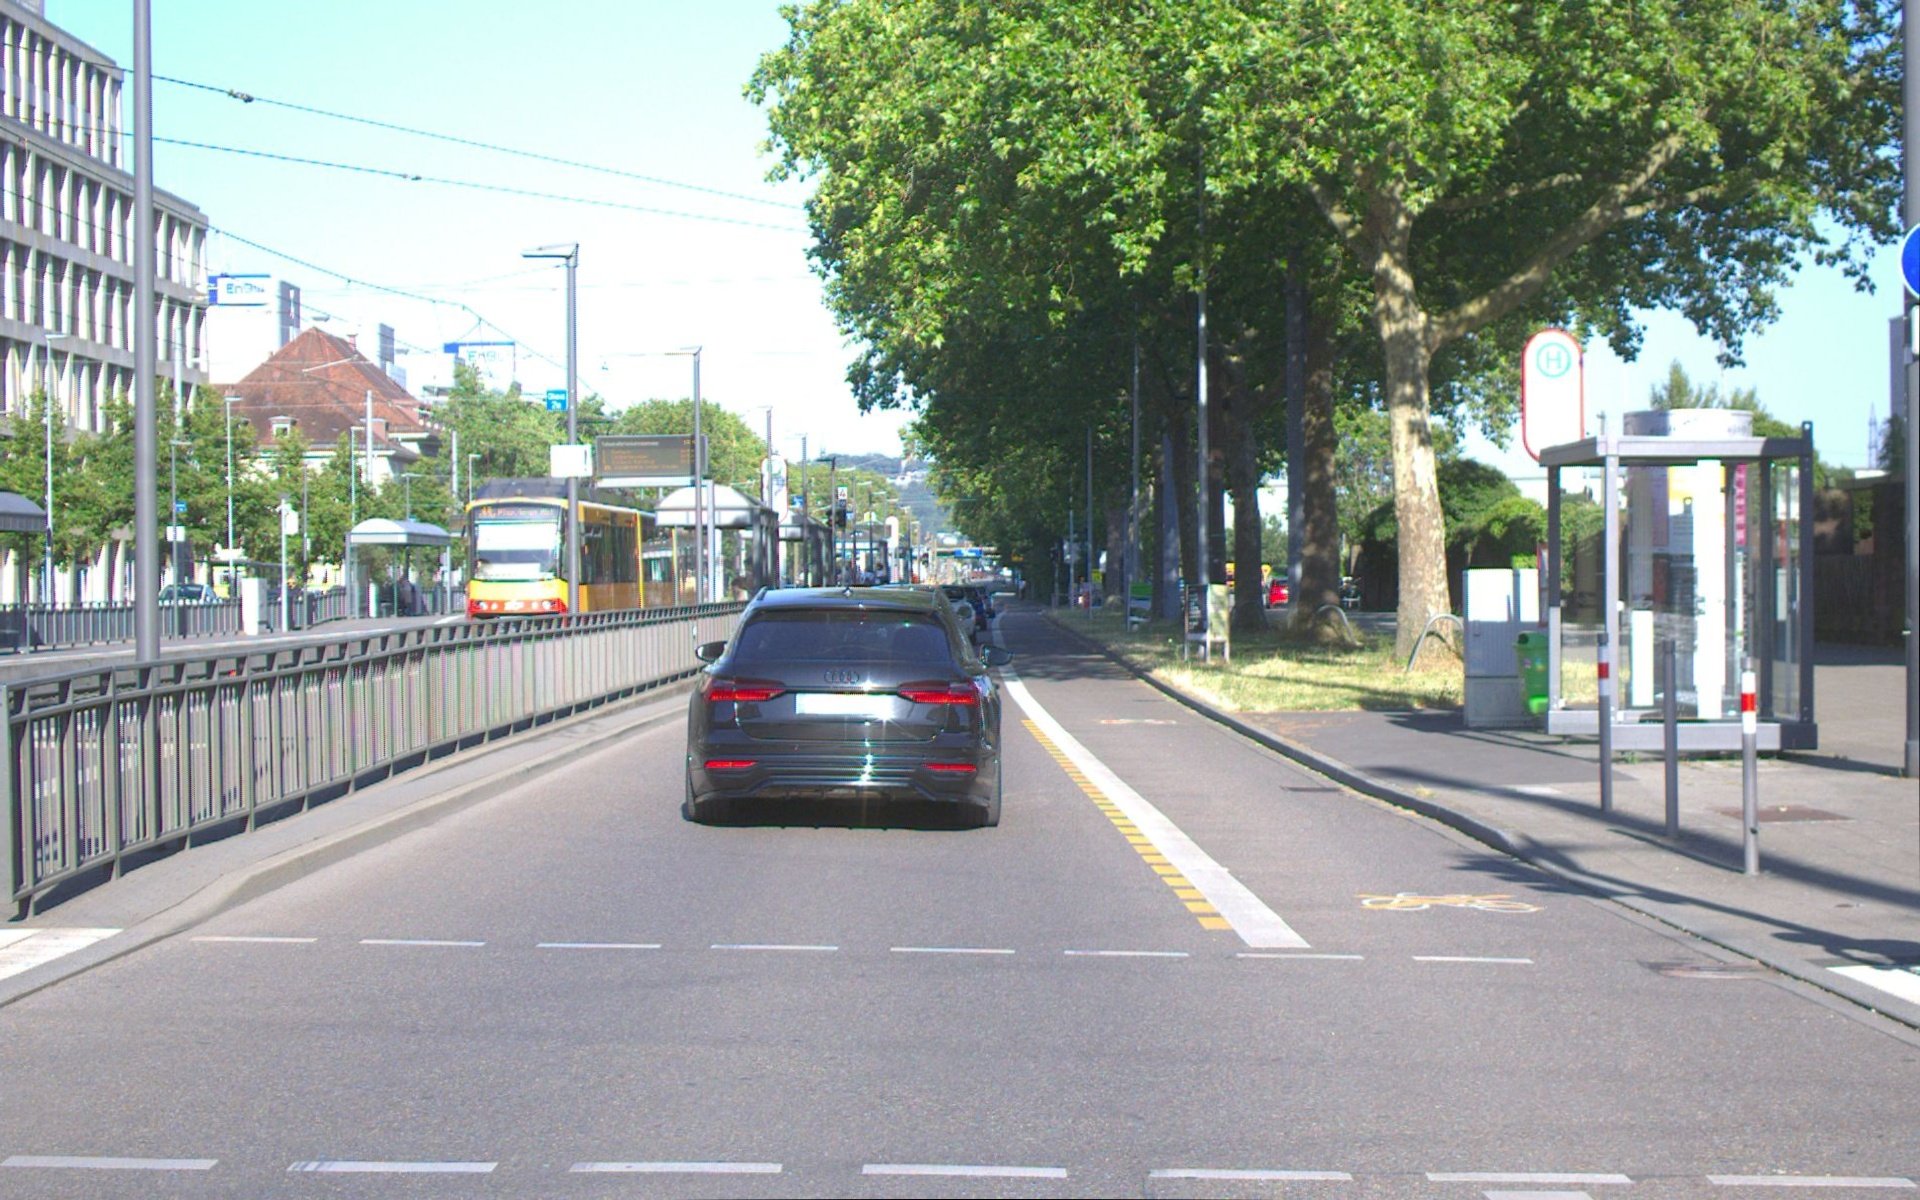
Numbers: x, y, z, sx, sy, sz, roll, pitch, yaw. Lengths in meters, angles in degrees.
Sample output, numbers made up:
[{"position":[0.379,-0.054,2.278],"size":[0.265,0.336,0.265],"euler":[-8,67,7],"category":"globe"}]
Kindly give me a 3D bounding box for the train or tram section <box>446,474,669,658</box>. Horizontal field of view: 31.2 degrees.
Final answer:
[{"position":[-8.938,-0.743,78.367],"size":[3.309,3.816,14.219],"euler":[0,0,0],"category":"train or tram section"}]

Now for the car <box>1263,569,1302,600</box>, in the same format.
[{"position":[15.941,-0.775,170.105],"size":[1.614,1.510,3.803],"euler":[0,0,1],"category":"car"}]

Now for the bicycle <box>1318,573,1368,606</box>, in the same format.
[{"position":[13.431,-0.361,120.592],"size":[1.687,1.116,0.439],"euler":[-2,0,0],"category":"bicycle"}]

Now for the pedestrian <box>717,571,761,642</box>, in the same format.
[{"position":[-3.996,0.115,62.202],"size":[0.742,1.269,0.525],"euler":[-1,0,0],"category":"pedestrian"}]

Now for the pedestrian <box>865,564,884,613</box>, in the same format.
[{"position":[-2.929,-0.388,118.086],"size":[0.611,1.663,0.613],"euler":[0,0,3],"category":"pedestrian"}]

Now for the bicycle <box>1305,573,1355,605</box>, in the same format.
[{"position":[13.657,-0.413,126.871],"size":[1.773,1.116,0.439],"euler":[-2,0,0],"category":"bicycle"}]

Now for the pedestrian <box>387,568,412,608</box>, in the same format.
[{"position":[-17.464,-0.377,107.080],"size":[0.614,1.256,0.724],"euler":[0,0,5],"category":"pedestrian"}]

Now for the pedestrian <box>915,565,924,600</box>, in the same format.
[{"position":[-1.993,-0.838,167.490],"size":[0.412,1.711,0.665],"euler":[0,0,1],"category":"pedestrian"}]

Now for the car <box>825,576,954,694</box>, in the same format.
[{"position":[-1.028,0.467,49.383],"size":[1.762,1.614,4.000],"euler":[0,0,-2],"category":"car"}]

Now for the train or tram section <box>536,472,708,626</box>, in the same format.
[{"position":[-8.856,-1.308,91.490],"size":[3.309,3.816,11.843],"euler":[0,0,0],"category":"train or tram section"}]

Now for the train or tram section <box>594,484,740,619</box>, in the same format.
[{"position":[-8.685,-1.402,103.366],"size":[3.309,3.816,11.843],"euler":[0,0,0],"category":"train or tram section"}]

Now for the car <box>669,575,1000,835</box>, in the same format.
[{"position":[-0.761,0.584,21.241],"size":[1.878,1.452,3.357],"euler":[0,1,-2],"category":"car"}]

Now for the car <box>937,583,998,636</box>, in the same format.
[{"position":[0.201,0.278,106.363],"size":[1.762,1.614,4.000],"euler":[0,0,-2],"category":"car"}]
